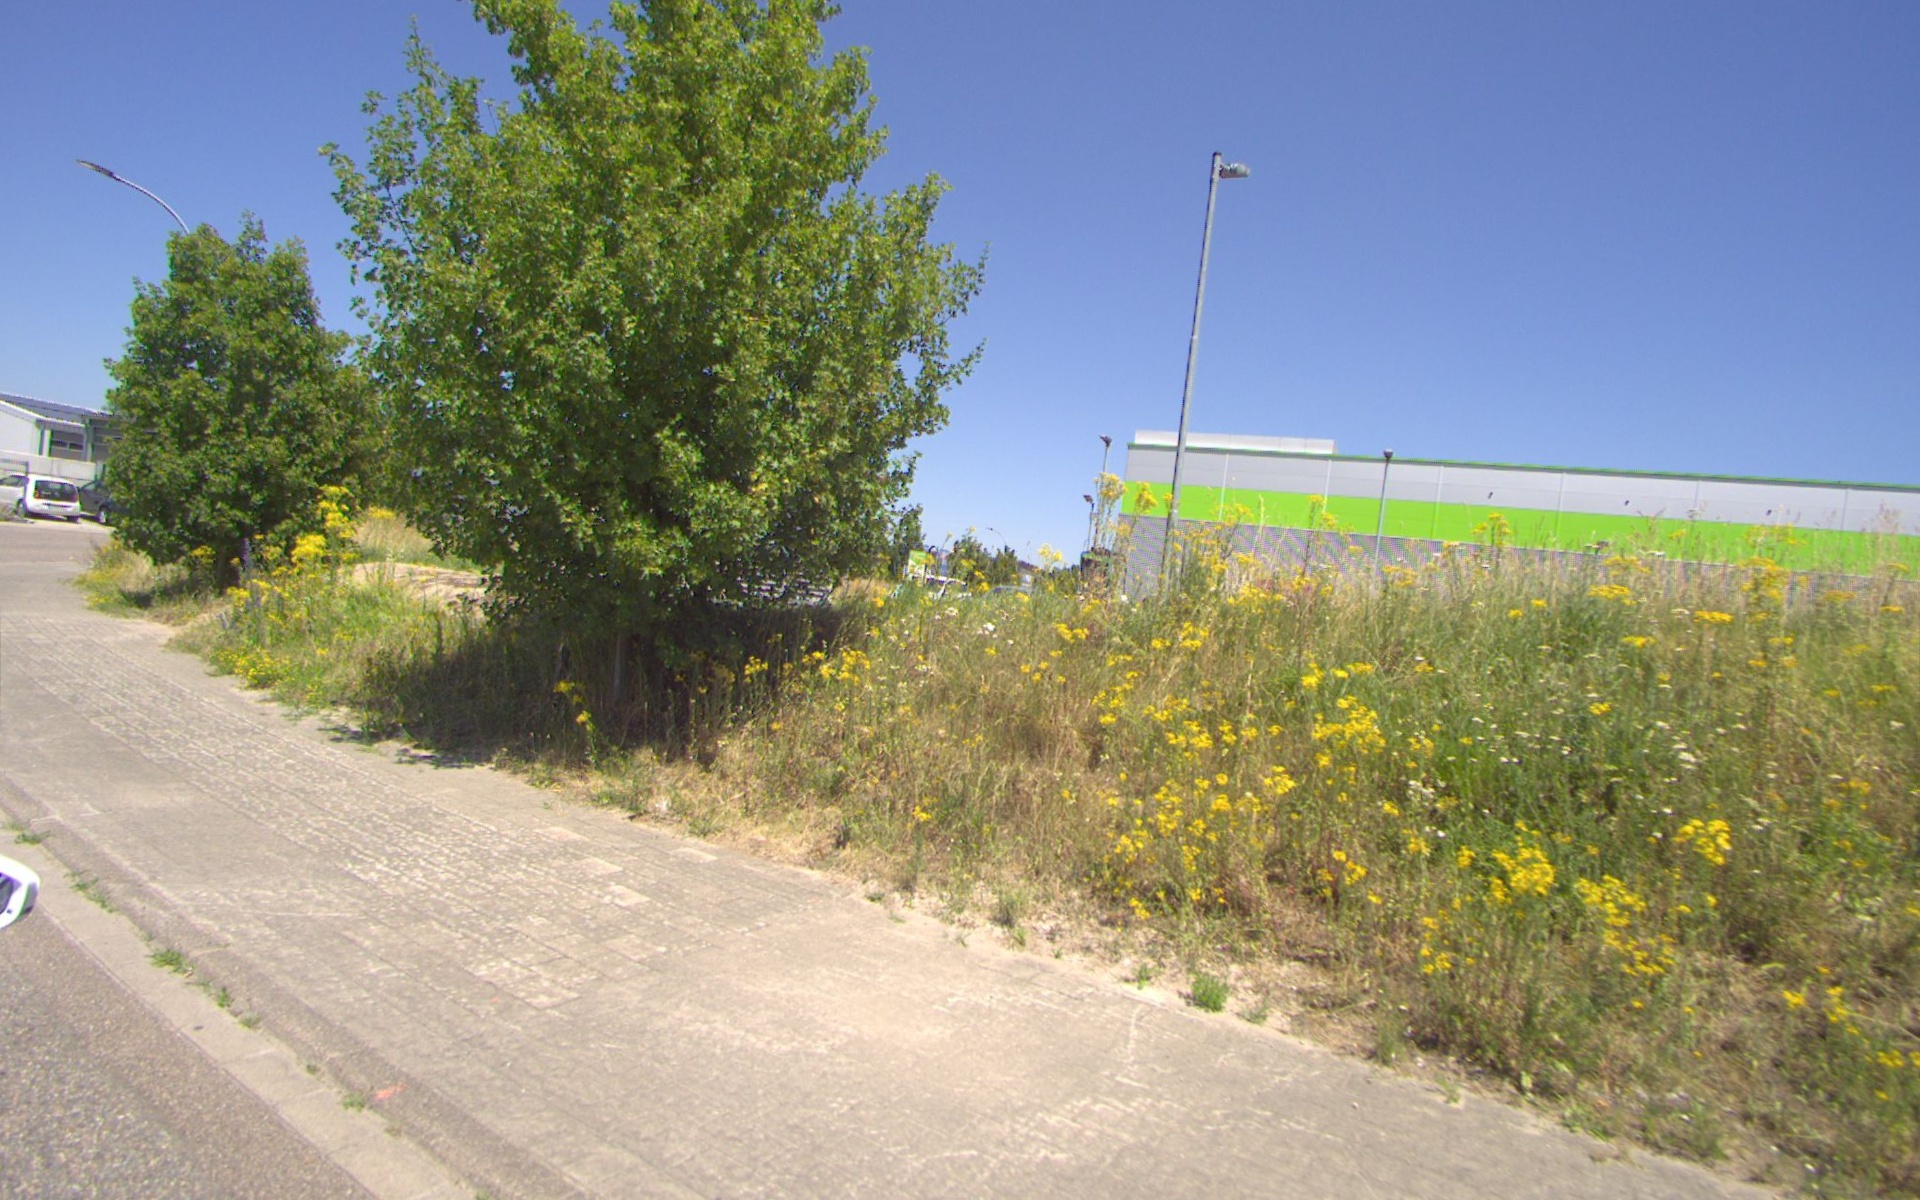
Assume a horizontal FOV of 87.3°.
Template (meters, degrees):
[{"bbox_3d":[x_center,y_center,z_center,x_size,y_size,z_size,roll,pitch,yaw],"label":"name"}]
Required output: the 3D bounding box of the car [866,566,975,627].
[{"bbox_3d":[-1.100,-0.066,30.343,1.802,1.549,3.997,6,1,20],"label":"car"}]

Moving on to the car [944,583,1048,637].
[{"bbox_3d":[1.127,0.309,29.284,1.802,1.282,3.997,6,1,20],"label":"car"}]

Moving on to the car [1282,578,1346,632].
[{"bbox_3d":[14.479,0.244,41.034,1.964,1.871,3.997,6,0,24],"label":"car"}]

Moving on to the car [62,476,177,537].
[{"bbox_3d":[-32.022,-3.565,38.343,3.635,1.629,1.798,10,2,22],"label":"car"}]

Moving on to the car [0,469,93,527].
[{"bbox_3d":[-33.549,-3.731,36.377,3.635,1.517,1.787,10,2,22],"label":"car"}]
